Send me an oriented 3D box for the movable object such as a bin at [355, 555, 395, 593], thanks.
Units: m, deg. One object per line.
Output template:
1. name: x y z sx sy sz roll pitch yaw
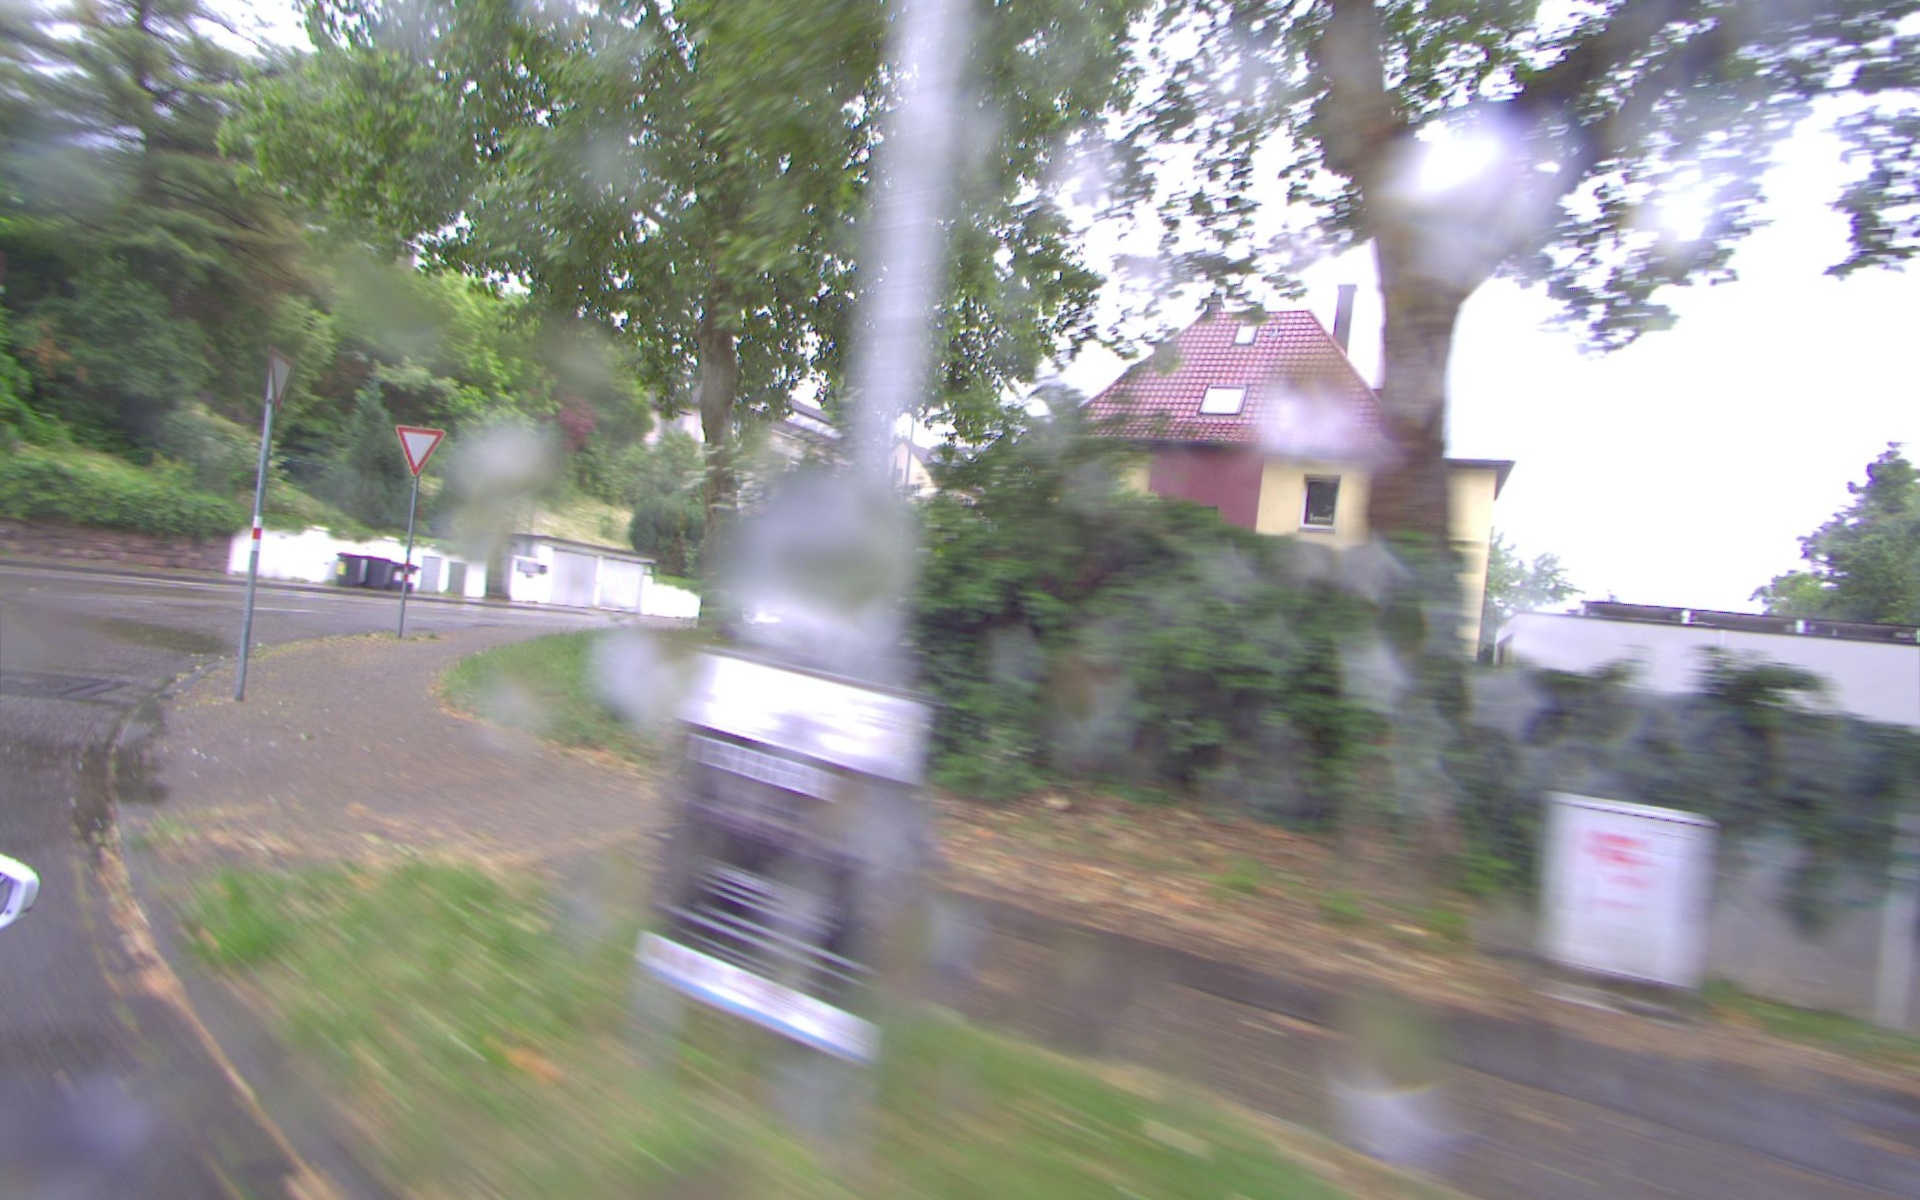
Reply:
1. movable object such as a bin: -18.334 -0.798 31.522 0.625 1.073 0.794 5 -1 24

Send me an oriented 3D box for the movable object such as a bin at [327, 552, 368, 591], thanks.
1. movable object such as a bin: -18.772 -0.866 30.842 0.676 1.073 0.753 5 -1 24

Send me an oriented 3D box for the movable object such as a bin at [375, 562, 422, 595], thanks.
1. movable object such as a bin: -18.164 -0.682 32.546 0.837 0.927 0.954 5 -1 23
